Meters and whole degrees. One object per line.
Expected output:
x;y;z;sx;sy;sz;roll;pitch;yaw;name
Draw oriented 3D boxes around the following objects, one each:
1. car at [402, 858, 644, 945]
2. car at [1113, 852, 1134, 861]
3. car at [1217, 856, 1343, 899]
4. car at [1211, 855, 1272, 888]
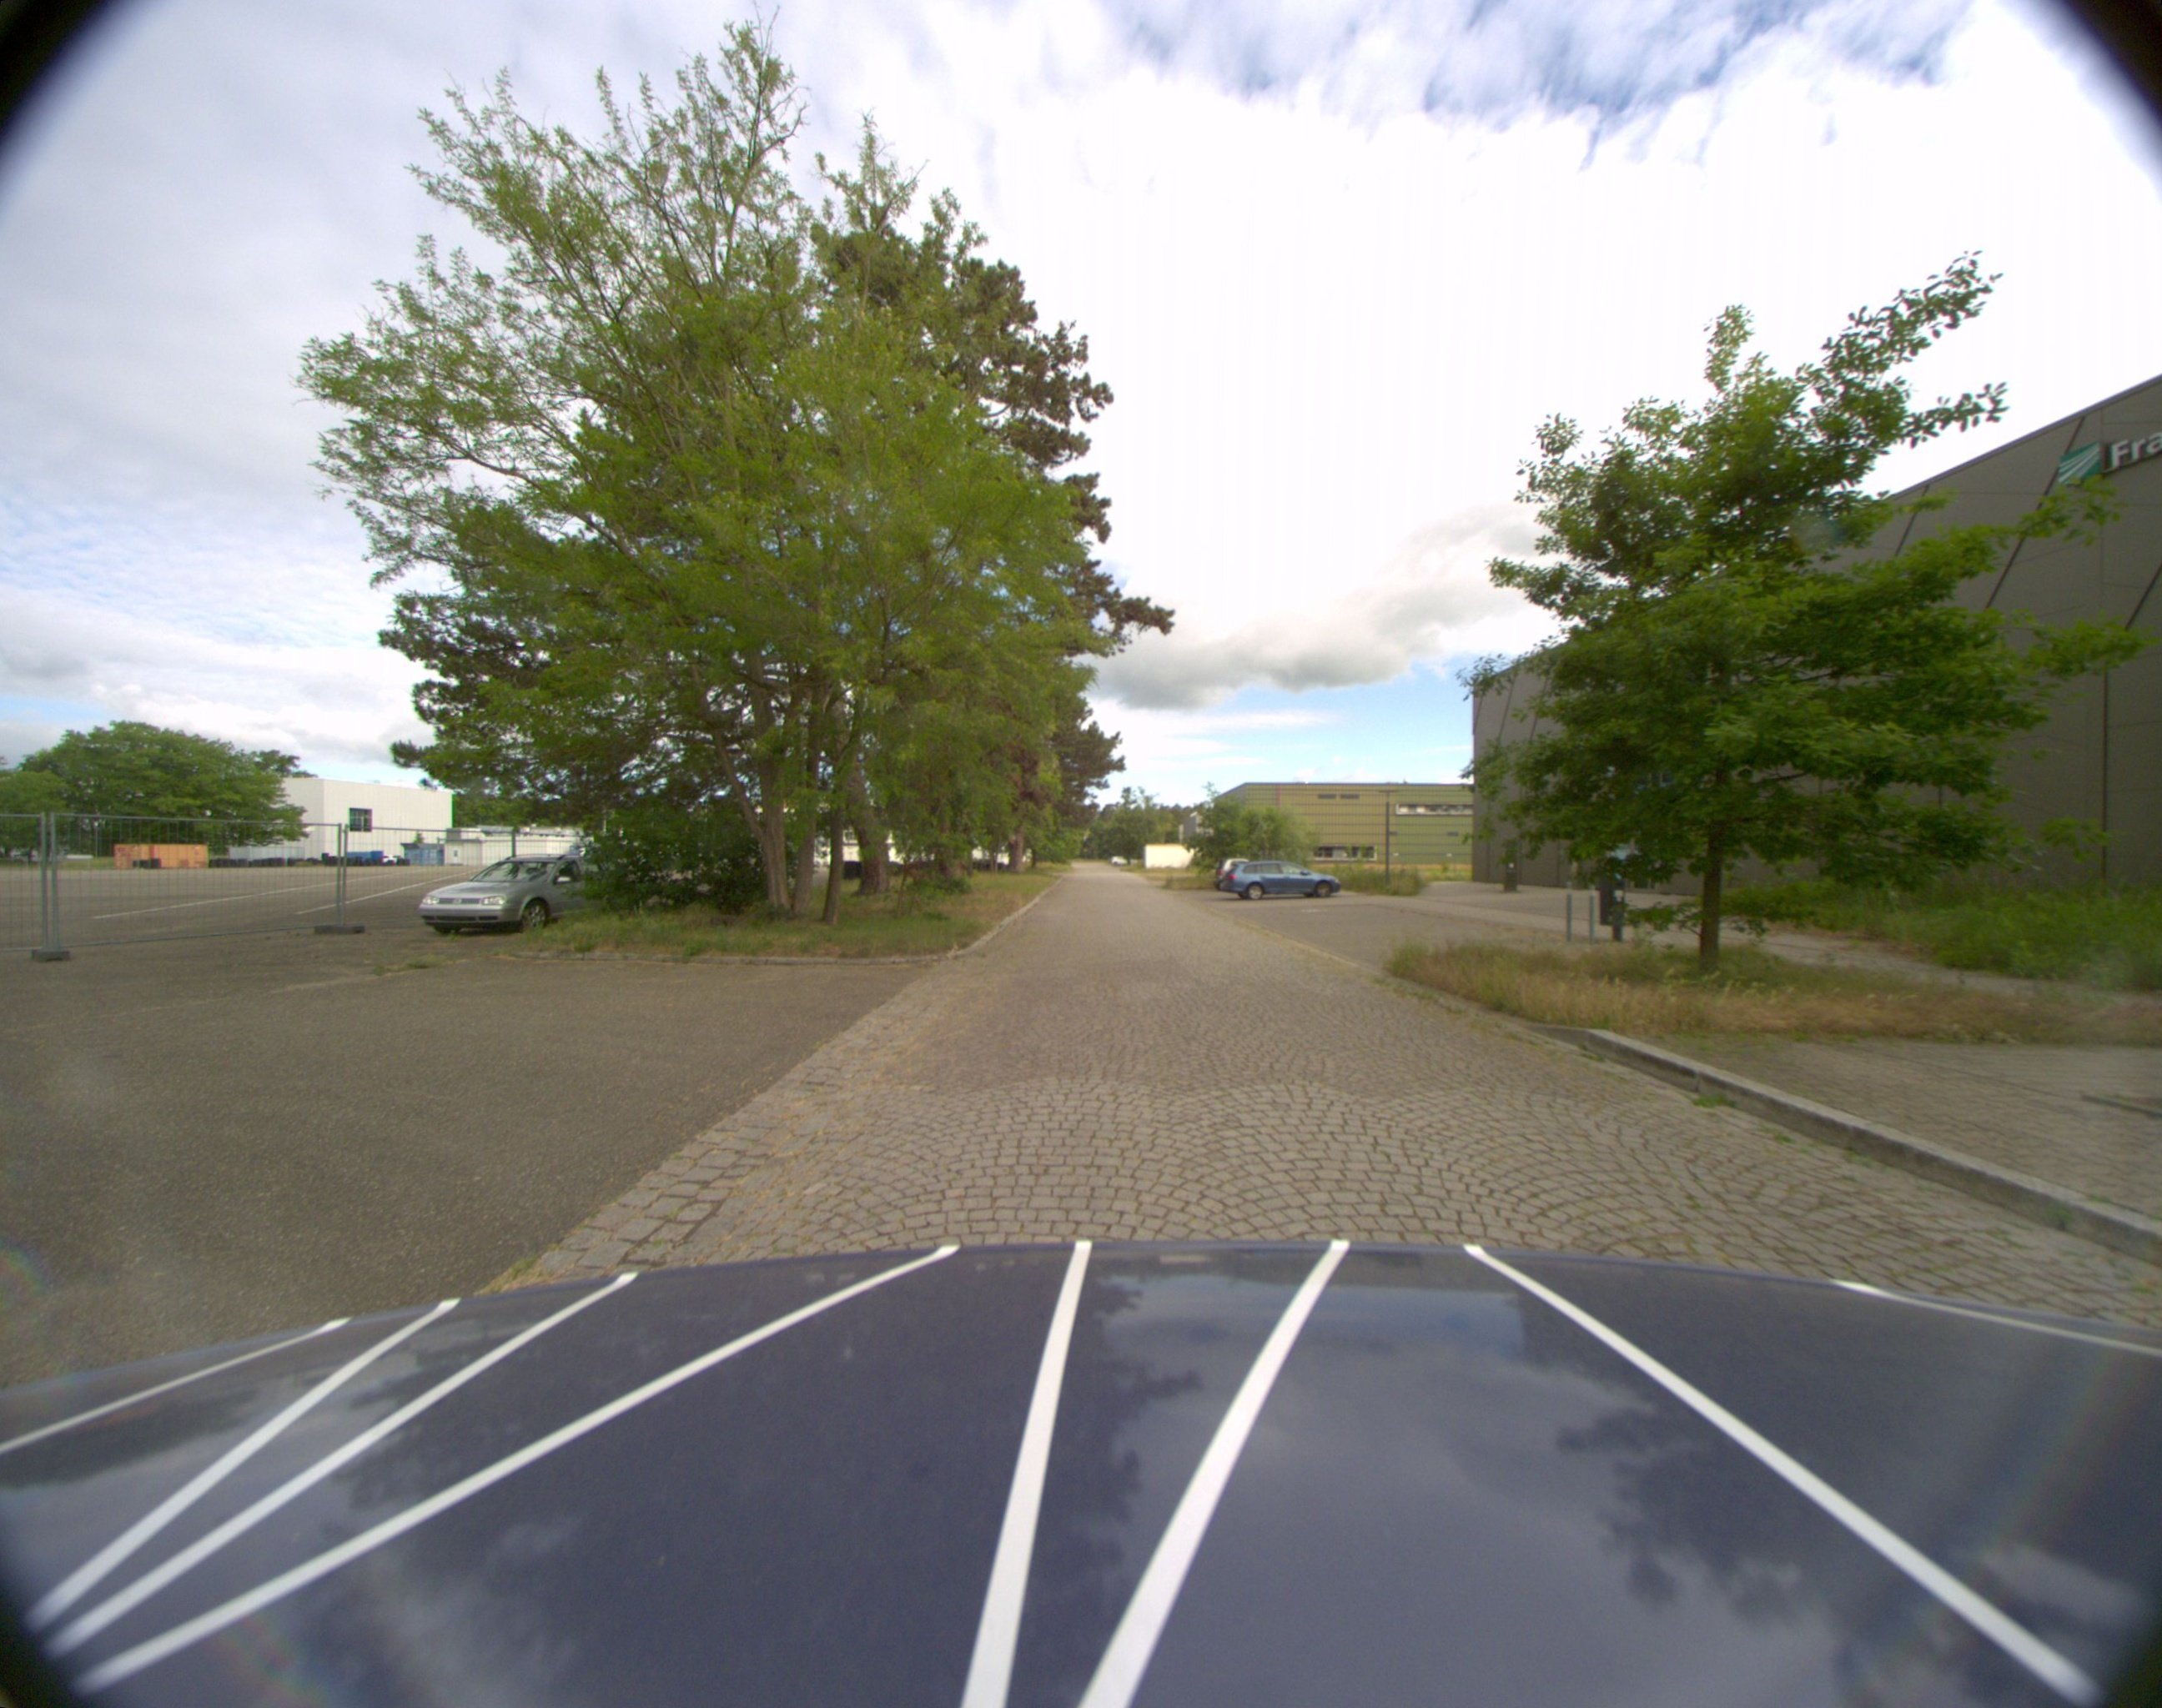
-10.931;0.828;15.389;1.678;1.442;4.488;0;1;-2;car
8.391;0.550;149.455;4.062;1.767;1.792;-1;1;0;car
7.697;0.896;29.649;4.426;1.461;1.633;-2;1;-2;car
7.796;0.837;37.018;2.584;1.521;1.500;-2;1;-1;car
